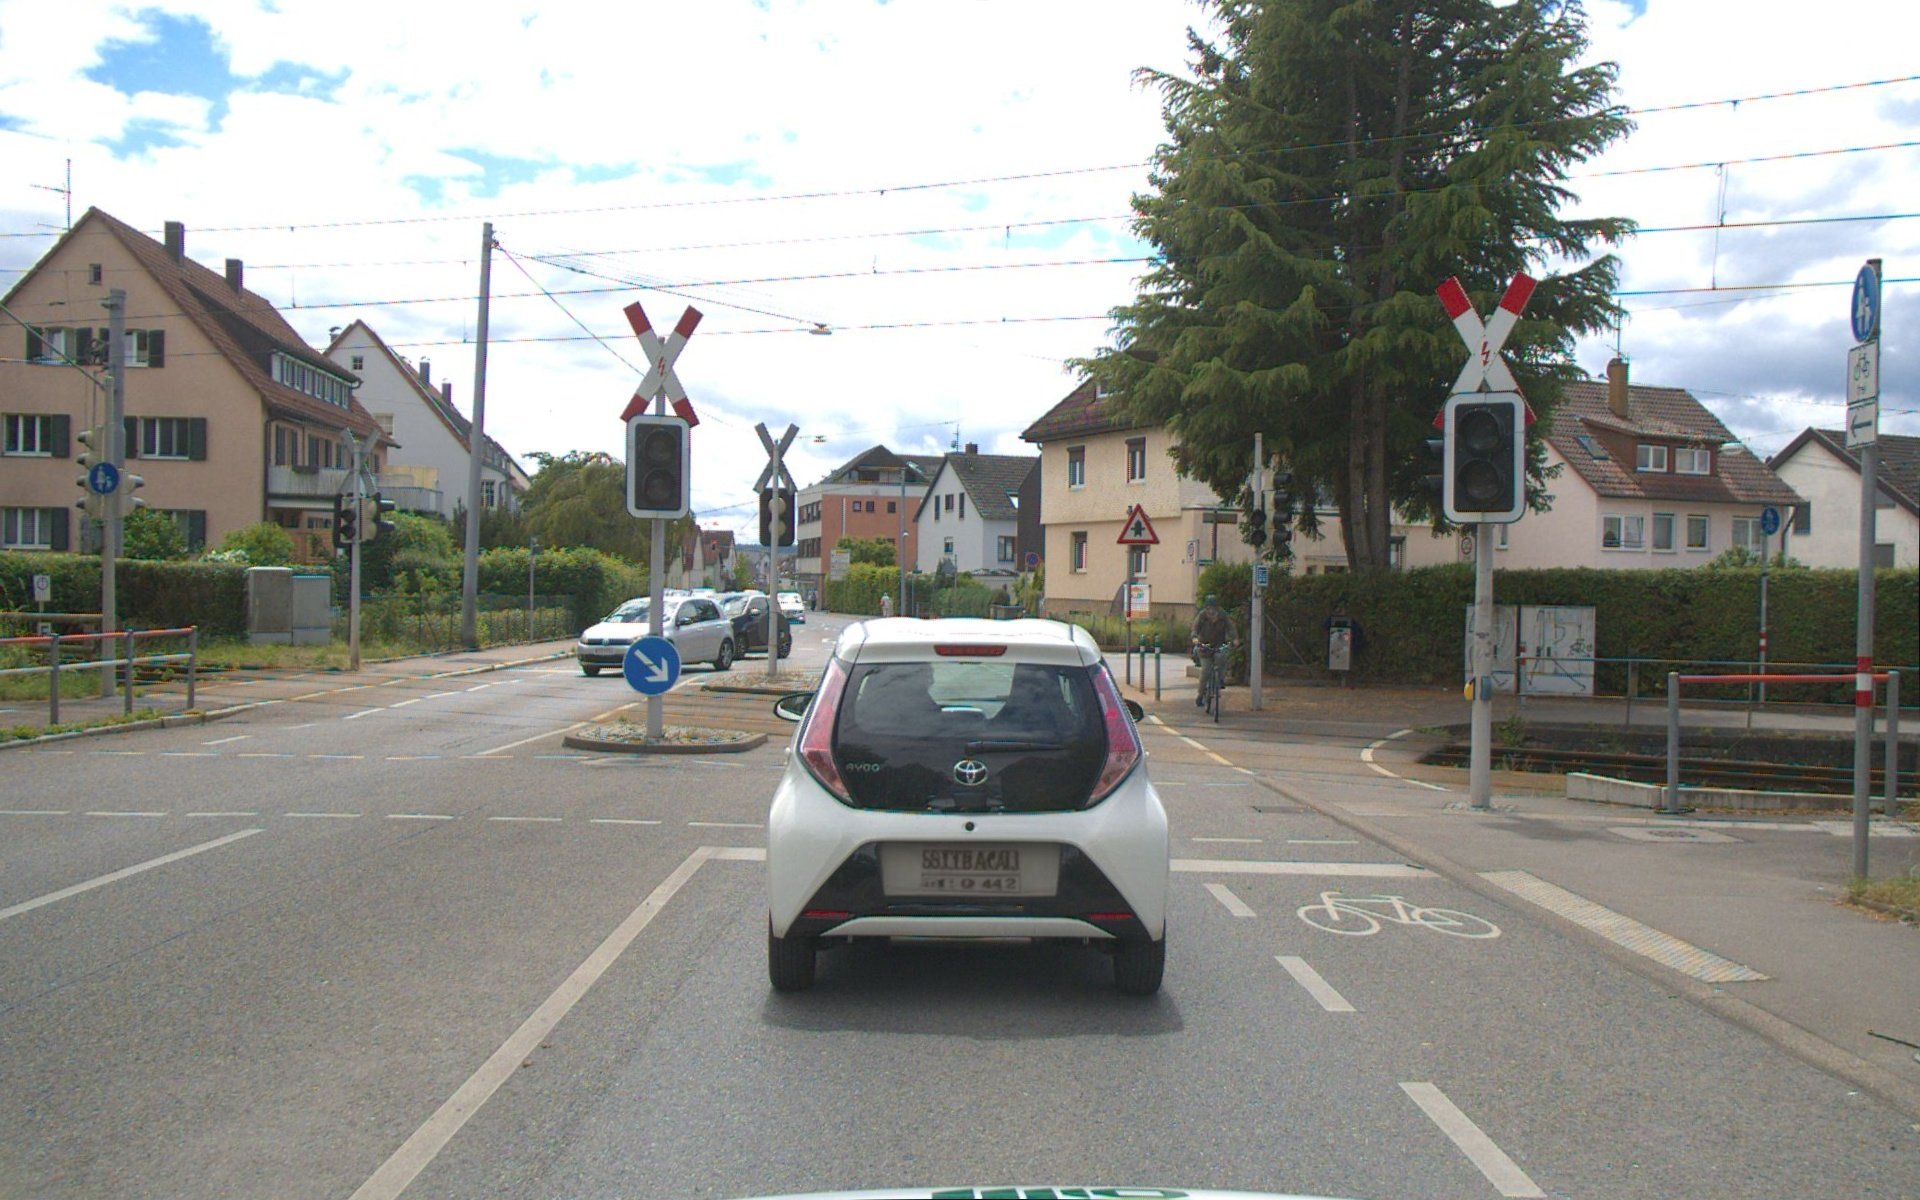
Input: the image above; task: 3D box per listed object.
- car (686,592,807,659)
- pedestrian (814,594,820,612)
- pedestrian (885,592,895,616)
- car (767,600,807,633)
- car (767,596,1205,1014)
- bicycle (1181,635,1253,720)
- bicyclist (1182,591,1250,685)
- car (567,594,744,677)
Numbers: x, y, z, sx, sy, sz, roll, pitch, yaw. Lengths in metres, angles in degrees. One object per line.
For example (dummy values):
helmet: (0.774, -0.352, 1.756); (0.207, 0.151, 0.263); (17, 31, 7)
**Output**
car: (-5.135, 0.611, 40.040); (1.545, 1.536, 2.784); (2, 0, 28)
pedestrian: (-11.766, 0.263, 136.168); (0.406, 1.463, 0.436); (1, 0, -11)
pedestrian: (-4.349, 0.232, 102.911); (0.433, 1.463, 0.409); (1, 0, -37)
car: (-8.966, 0.839, 85.396); (1.743, 1.589, 4.158); (1, 0, -11)
car: (0.072, 0.767, 8.030); (1.588, 1.512, 3.999); (1, -1, -1)
bicycle: (3.692, 1.097, 23.898); (0.912, 1.058, 1.917); (-1, 2, 6)
bicyclist: (3.687, 0.534, 23.905); (0.912, 1.269, 1.103); (-1, 2, 6)
car: (-5.856, 0.643, 32.281); (1.653, 1.484, 4.071); (1, 0, 18)
